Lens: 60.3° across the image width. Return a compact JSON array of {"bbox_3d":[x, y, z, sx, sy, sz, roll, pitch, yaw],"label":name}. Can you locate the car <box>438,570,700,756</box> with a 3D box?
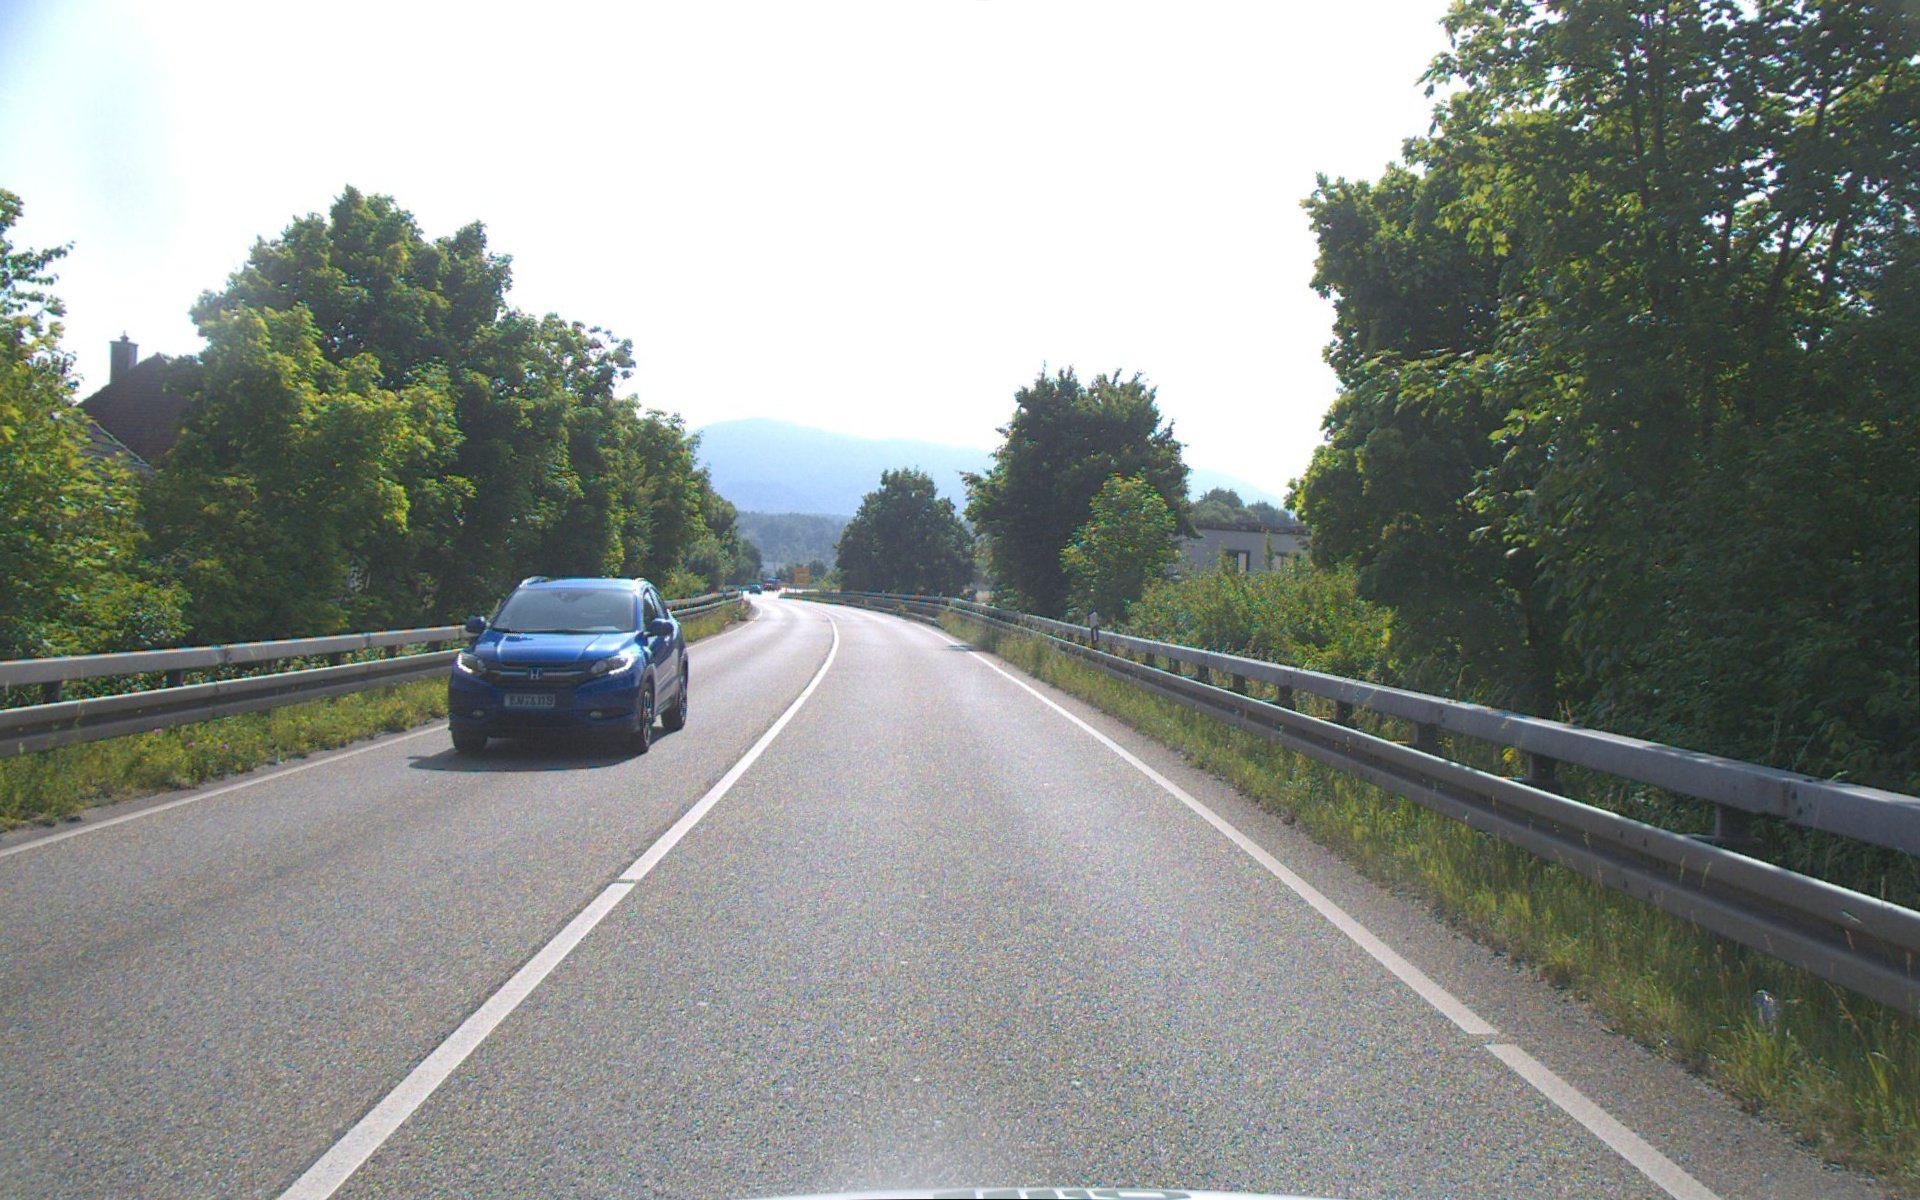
[{"bbox_3d":[-3.697,0.548,16.321,1.771,1.588,3.991,-1,0,-2],"label":"car"}]

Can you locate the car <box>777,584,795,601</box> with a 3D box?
[{"bbox_3d":[-22.027,-0.930,209.679,1.953,2.049,3.999,1,-1,-1],"label":"car"}]
